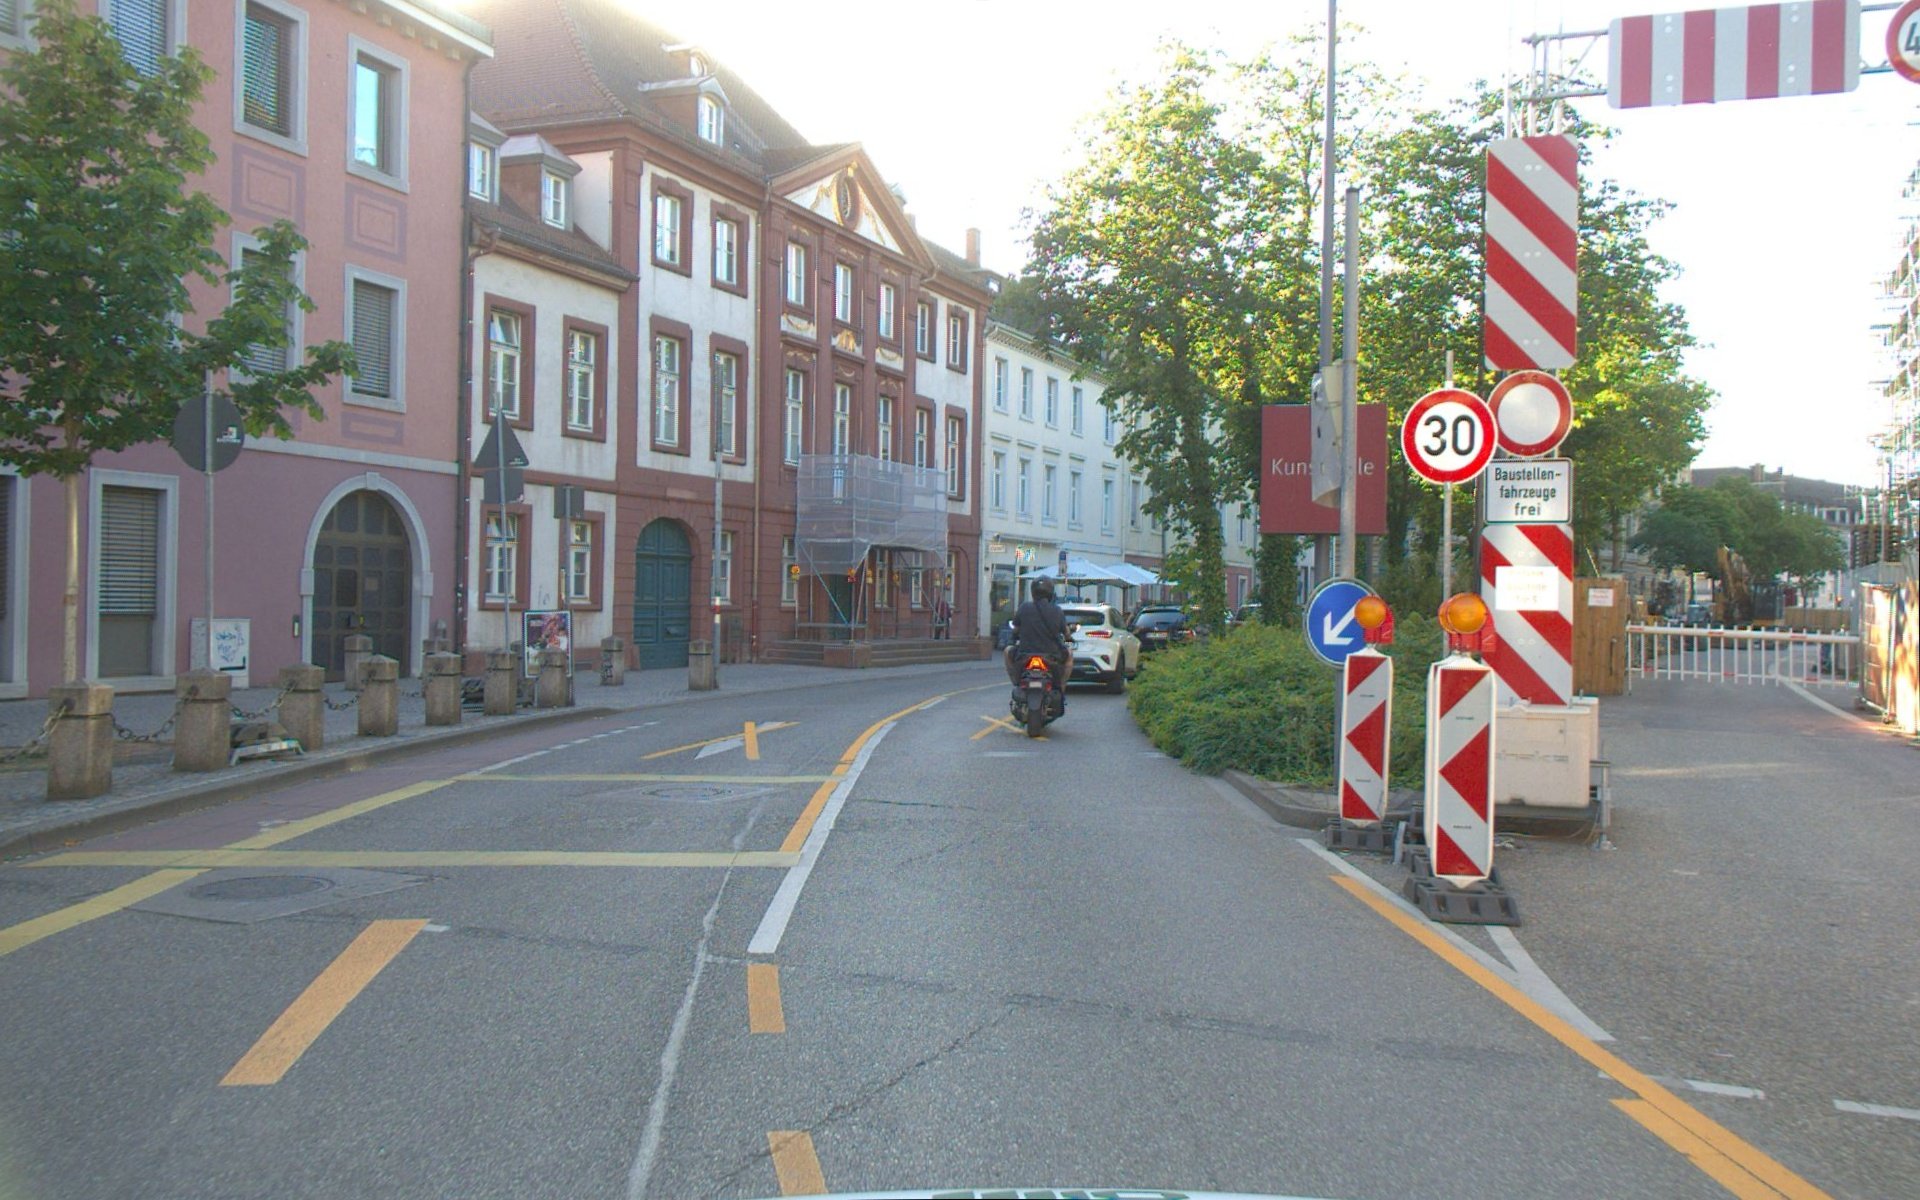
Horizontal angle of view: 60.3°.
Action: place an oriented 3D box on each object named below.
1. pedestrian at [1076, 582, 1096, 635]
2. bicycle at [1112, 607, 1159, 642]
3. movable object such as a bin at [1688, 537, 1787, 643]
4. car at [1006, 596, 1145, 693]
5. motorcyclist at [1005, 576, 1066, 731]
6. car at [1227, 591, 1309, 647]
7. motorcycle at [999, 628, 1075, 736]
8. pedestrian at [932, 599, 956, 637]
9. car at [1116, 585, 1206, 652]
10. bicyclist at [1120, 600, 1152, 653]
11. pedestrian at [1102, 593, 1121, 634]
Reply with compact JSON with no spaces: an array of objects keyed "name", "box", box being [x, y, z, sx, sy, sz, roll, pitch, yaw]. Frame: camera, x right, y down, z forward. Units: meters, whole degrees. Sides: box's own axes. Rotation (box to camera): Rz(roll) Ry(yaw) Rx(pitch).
[{"name":"pedestrian","box":[4.294,0.303,56.496,0.430,1.806,0.595,0,-1,37]},{"name":"bicycle","box":[5.455,0.751,51.387,0.756,1.081,2.075,0,0,27]},{"name":"movable object such as a bin","box":[35.826,-0.392,76.059,3.247,4.619,7.885,-1,-1,32]},{"name":"car","box":[2.070,0.725,28.588,1.811,1.506,4.061,1,0,12]},{"name":"motorcyclist","box":[0.832,0.584,18.328,0.643,1.679,0.651,1,0,2]},{"name":"car","box":[10.229,0.609,54.730,1.803,1.743,4.056,1,0,23]},{"name":"motorcycle","box":[0.833,0.872,18.231,0.780,1.085,1.725,1,0,2]},{"name":"pedestrian","box":[-0.467,0.513,47.602,0.525,1.071,0.551,1,0,20]},{"name":"car","box":[4.885,0.427,39.828,1.801,1.489,4.061,1,0,12]},{"name":"bicyclist","box":[5.468,0.832,51.432,0.729,1.611,0.794,1,0,27]},{"name":"pedestrian","box":[5.221,0.469,56.926,0.512,1.415,0.488,0,-1,21]}]
